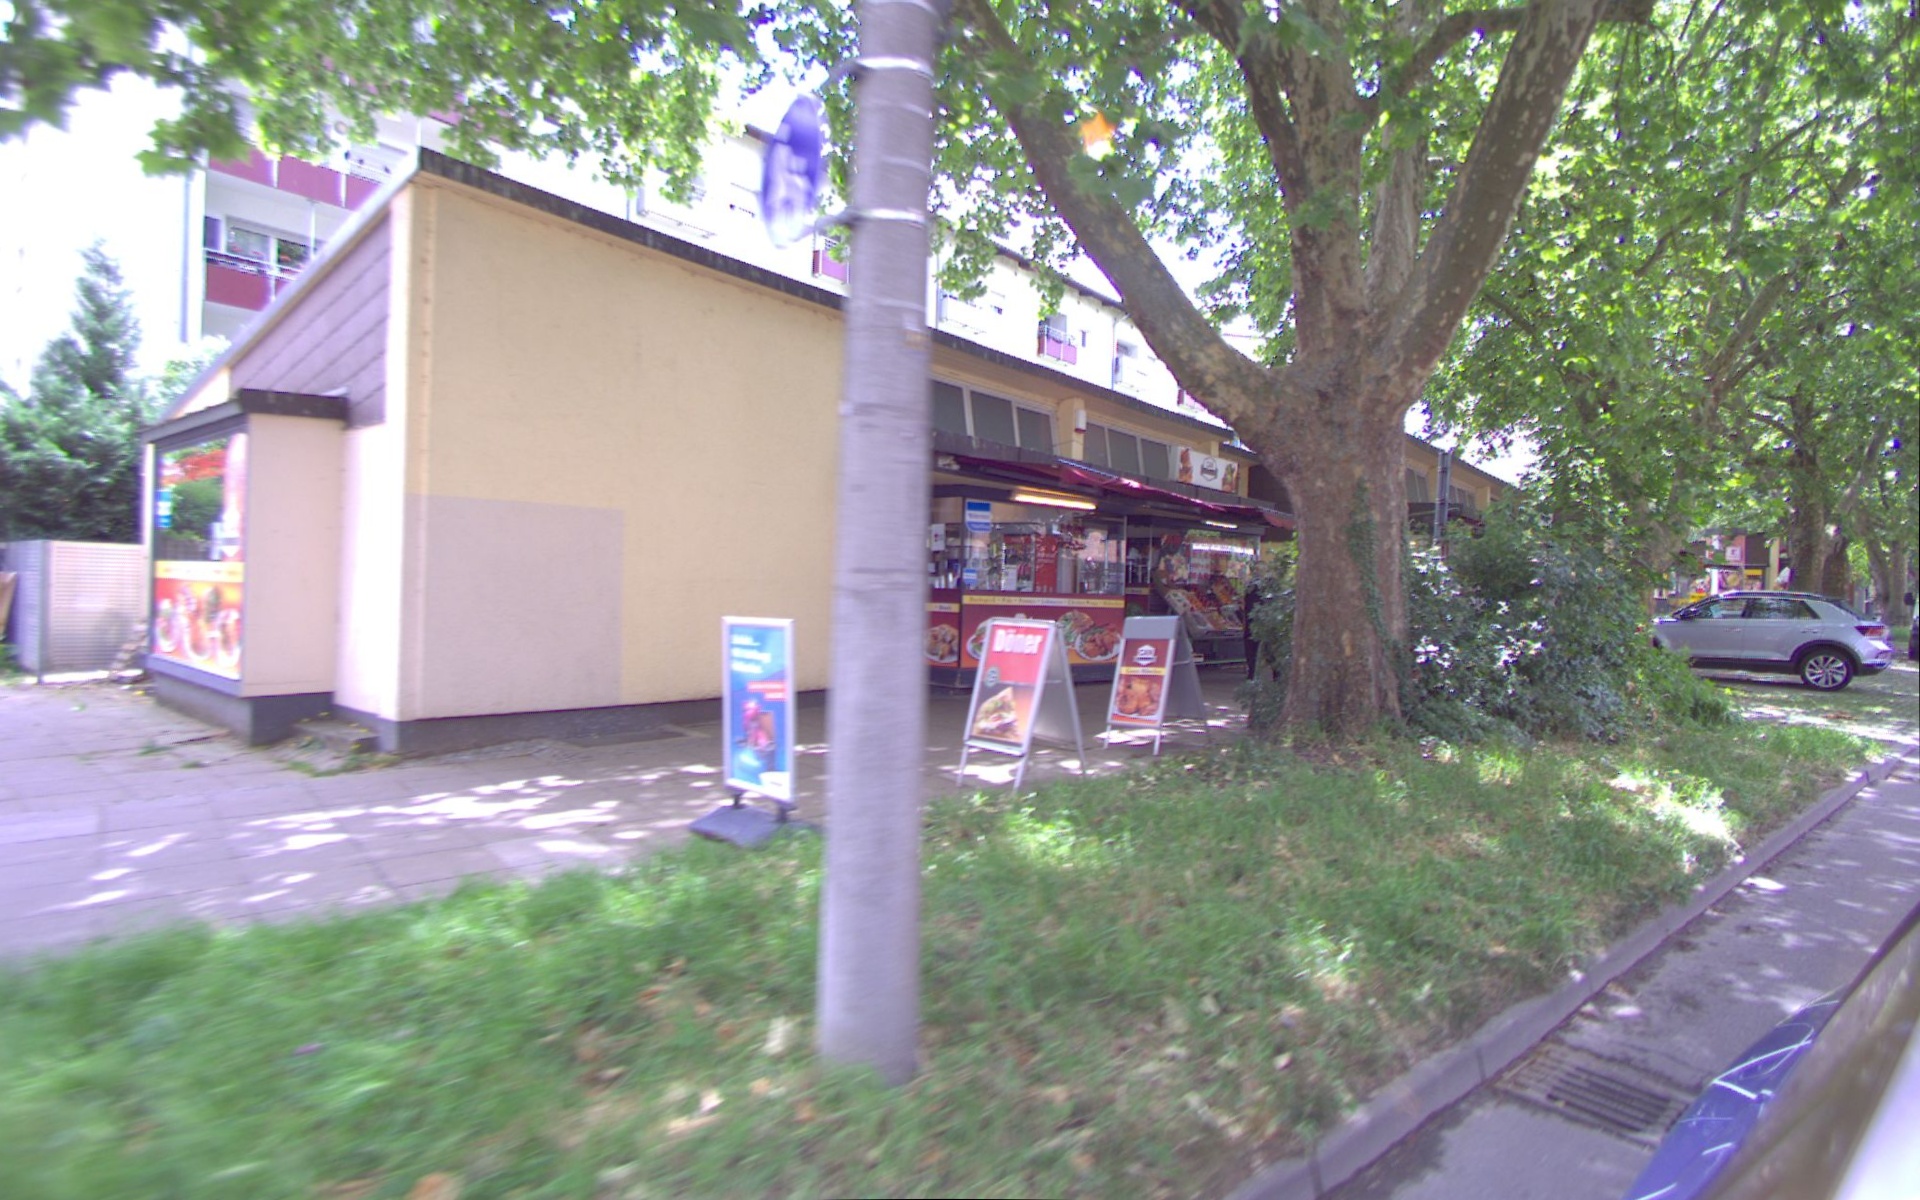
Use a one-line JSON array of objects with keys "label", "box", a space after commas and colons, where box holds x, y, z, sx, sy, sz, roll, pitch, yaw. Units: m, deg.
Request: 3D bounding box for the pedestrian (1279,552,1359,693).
[{"label": "pedestrian", "box": [4.495, 0.265, 12.679, 0.758, 1.697, 0.625, 0, 1, -41]}]

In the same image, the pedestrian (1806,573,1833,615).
[{"label": "pedestrian", "box": [39.697, -0.274, 46.750, 0.925, 1.906, 0.745, 0, 3, -41]}]

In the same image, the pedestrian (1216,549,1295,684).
[{"label": "pedestrian", "box": [3.989, 0.206, 13.674, 0.648, 1.746, 0.759, 0, 2, -45]}]

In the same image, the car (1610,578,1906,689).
[{"label": "car", "box": [13.592, 0.475, 17.400, 3.830, 1.581, 1.595, 4, 3, 43]}]
